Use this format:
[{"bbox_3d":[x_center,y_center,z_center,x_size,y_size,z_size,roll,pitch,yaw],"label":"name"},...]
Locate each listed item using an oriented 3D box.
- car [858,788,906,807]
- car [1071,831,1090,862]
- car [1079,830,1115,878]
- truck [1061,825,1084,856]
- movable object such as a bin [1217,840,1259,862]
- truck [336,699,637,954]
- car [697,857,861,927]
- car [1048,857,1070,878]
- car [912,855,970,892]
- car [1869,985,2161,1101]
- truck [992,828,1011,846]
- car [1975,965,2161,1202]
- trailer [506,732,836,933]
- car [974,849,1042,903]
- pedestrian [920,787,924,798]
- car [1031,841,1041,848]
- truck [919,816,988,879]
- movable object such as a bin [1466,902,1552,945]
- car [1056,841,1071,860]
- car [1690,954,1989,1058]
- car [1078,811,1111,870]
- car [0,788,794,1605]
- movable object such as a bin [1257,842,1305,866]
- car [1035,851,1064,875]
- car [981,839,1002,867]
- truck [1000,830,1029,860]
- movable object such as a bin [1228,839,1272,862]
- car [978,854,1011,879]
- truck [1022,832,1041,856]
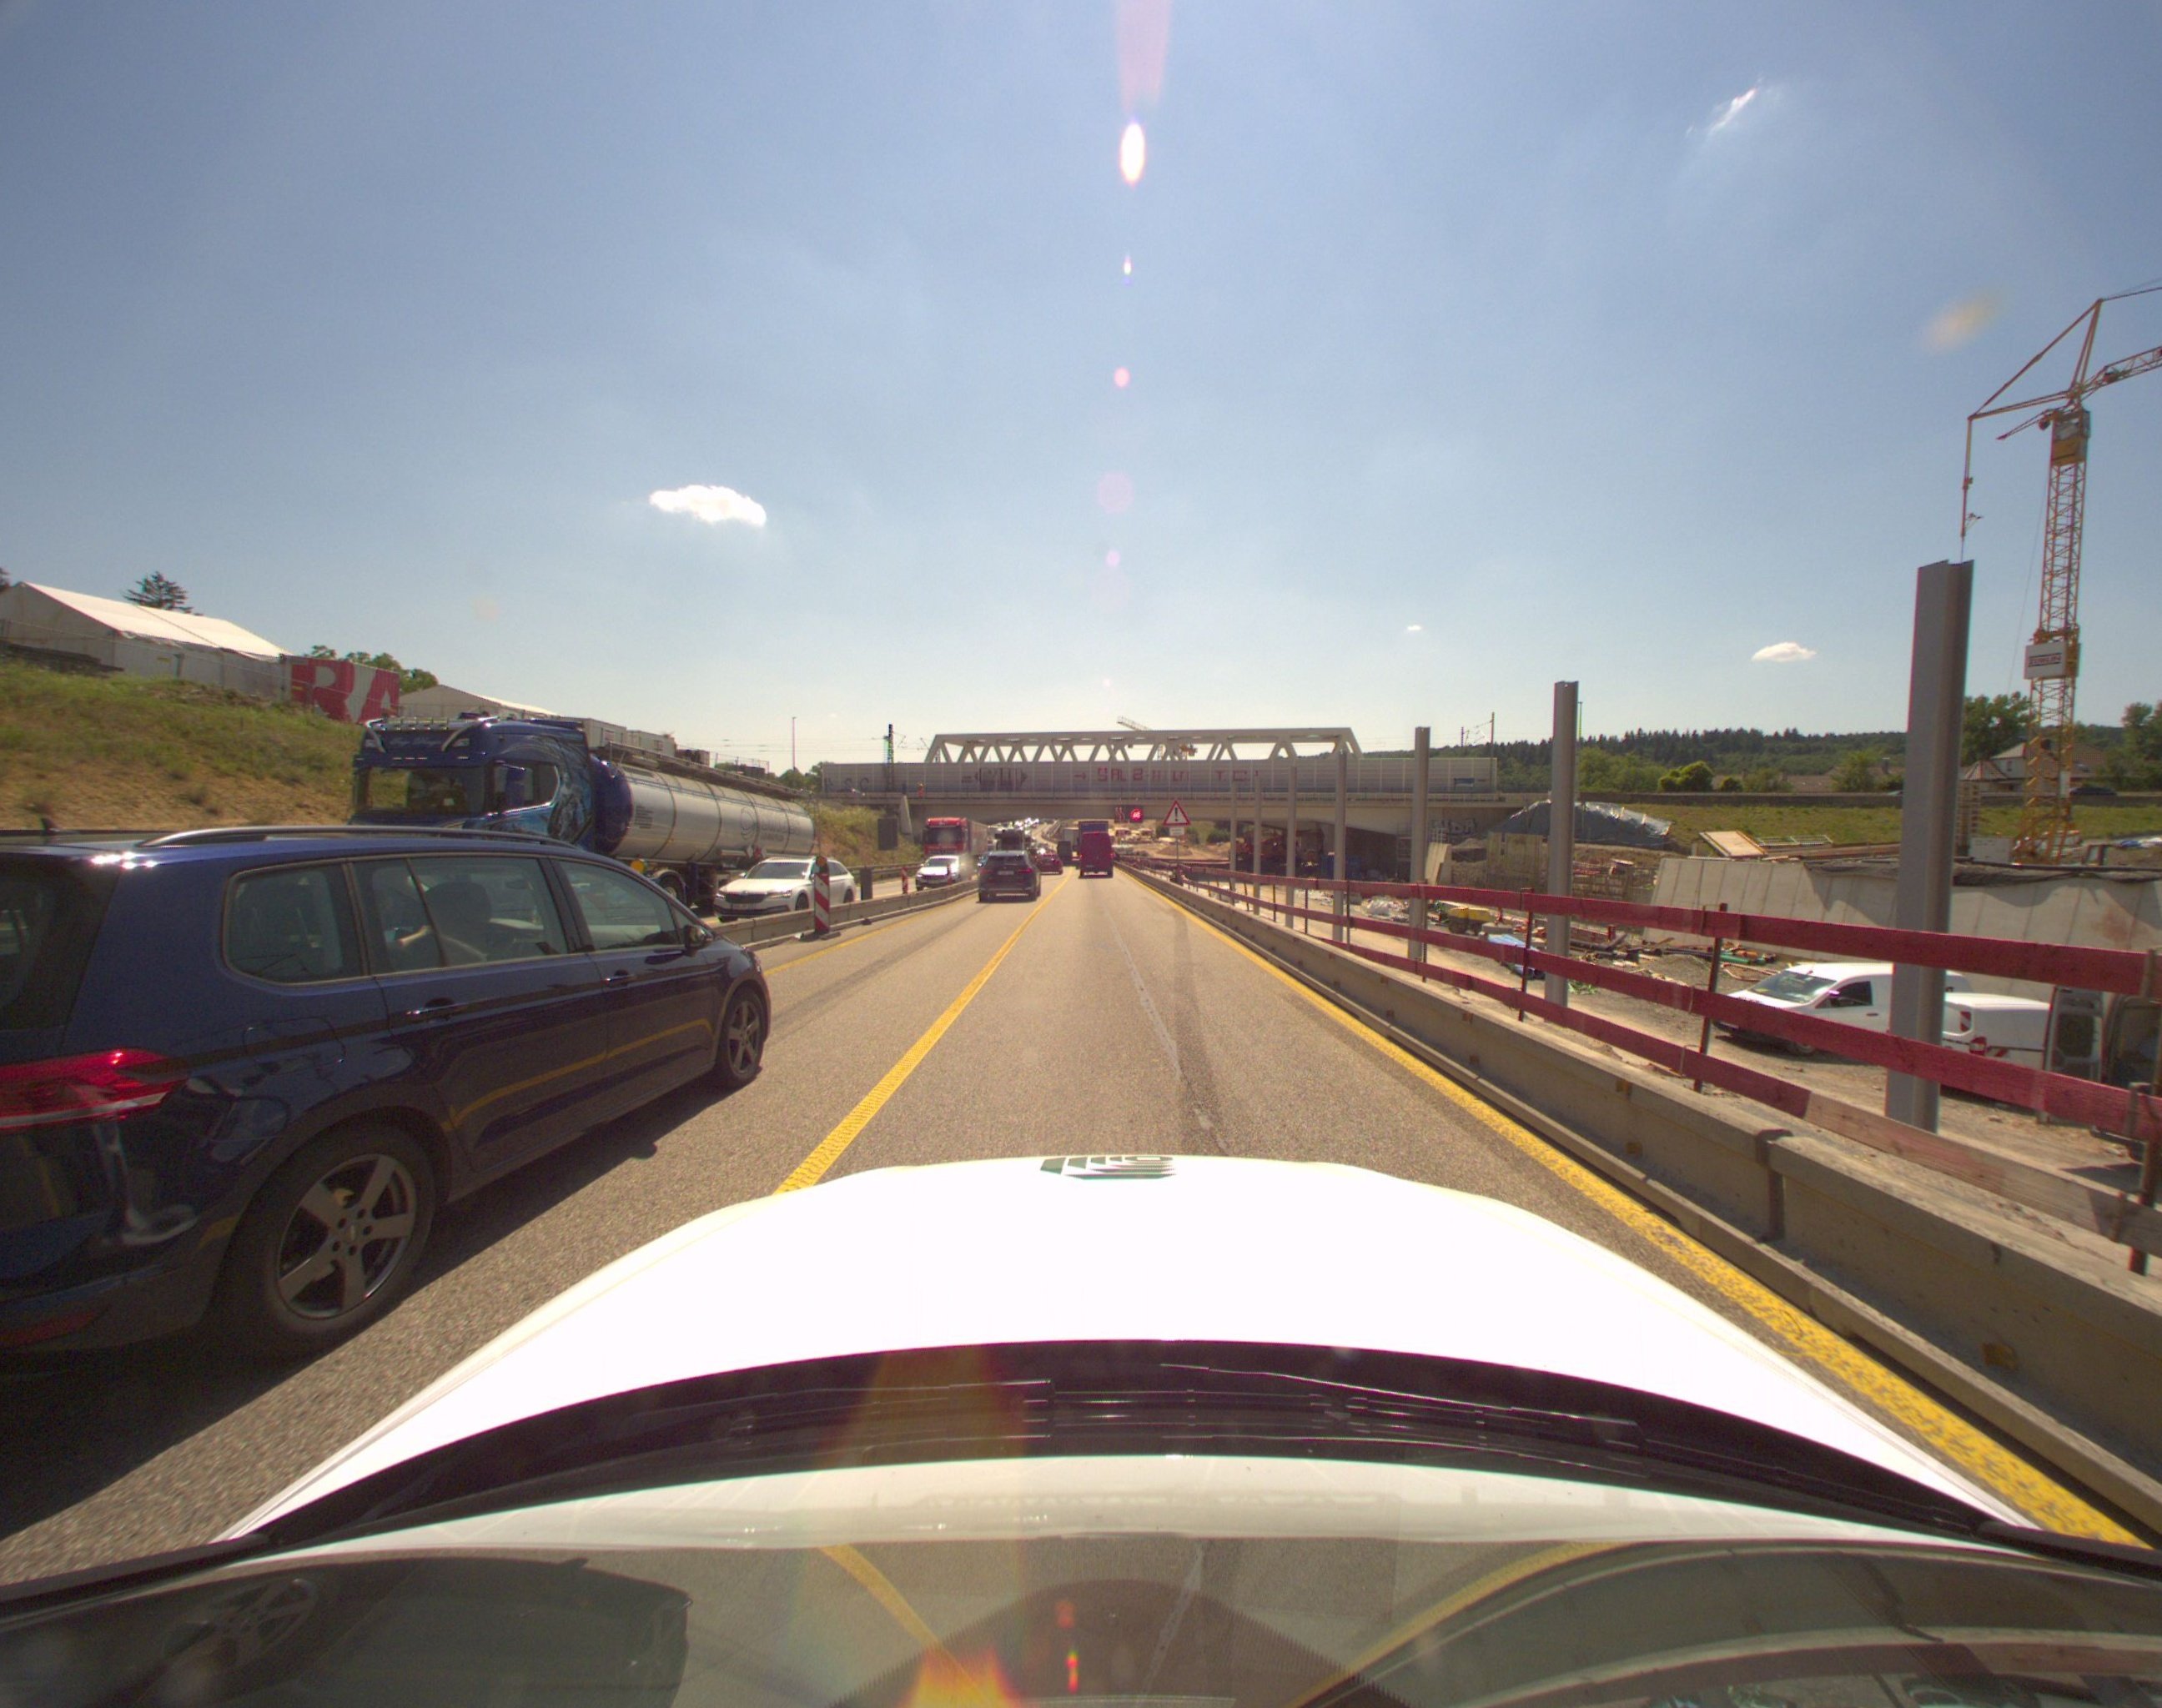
[{"bbox_3d":[-21.384,-6.045,87.529,4.522,1.783,1.967,0,0,13],"label":"car"},{"bbox_3d":[-0.130,-1.020,113.015,2.443,4.160,6.858,-1,1,-1],"label":"car"},{"bbox_3d":[0.909,-0.005,48.946,1.982,2.690,4.622,-1,1,-1],"label":"car"},{"bbox_3d":[-1.617,-2.479,152.903,2.832,5.398,12.879,0,0,-7],"label":"truck"},{"bbox_3d":[20.318,-0.384,105.736,5.122,2.807,2.145,0,0,5],"label":"movable object such as a bin"},{"bbox_3d":[-10.500,-0.446,14.878,2.347,4.015,4.005,0,0,4],"label":"truck"},{"bbox_3d":[-6.898,0.793,19.209,1.808,1.383,4.591,0,0,5],"label":"car"},{"bbox_3d":[-1.897,1.185,71.544,1.834,1.654,4.163,-1,1,-1],"label":"car"},{"bbox_3d":[-5.890,0.780,34.745,1.828,1.446,4.154,0,0,-1],"label":"car"},{"bbox_3d":[17.182,3.422,14.997,3.752,1.668,1.765,1,2,-5],"label":"car"},{"bbox_3d":[-17.365,-3.627,177.208,2.836,3.852,12.864,0,0,-11],"label":"truck"},{"bbox_3d":[16.305,3.032,11.175,6.088,2.584,2.522,1,2,-10],"label":"car"},{"bbox_3d":[-9.949,-0.476,22.028,2.337,4.015,11.464,0,0,4],"label":"trailer"},{"bbox_3d":[-2.337,0.656,27.156,1.874,1.618,4.498,-1,1,-1],"label":"car"},{"bbox_3d":[-16.629,-6.436,85.322,0.334,1.211,0.309,0,0,13],"label":"pedestrian"},{"bbox_3d":[-10.065,-2.109,181.720,1.877,1.656,3.988,0,0,-9],"label":"car"},{"bbox_3d":[-8.575,-0.484,56.411,2.826,3.852,12.908,0,0,0],"label":"truck"},{"bbox_3d":[18.319,2.934,34.894,3.067,1.563,1.563,0,0,35],"label":"movable object such as a bin"},{"bbox_3d":[-2.241,-0.454,105.576,1.770,2.441,4.205,-1,1,-1],"label":"car"},{"bbox_3d":[16.635,3.310,18.076,4.711,1.773,2.001,1,2,1],"label":"car"},{"bbox_3d":[1.112,-1.191,74.555,2.613,5.032,10.393,-1,1,-1],"label":"car"},{"bbox_3d":[-3.118,0.670,3.840,1.769,1.718,4.654,0,1,1],"label":"car"},{"bbox_3d":[23.137,0.002,94.232,5.122,2.807,2.145,0,0,5],"label":"movable object such as a bin"},{"bbox_3d":[-2.103,0.597,55.464,1.770,1.517,4.206,-1,1,0],"label":"car"},{"bbox_3d":[-8.745,-0.099,79.958,1.575,2.654,5.389,0,0,-1],"label":"car"},{"bbox_3d":[-8.894,-1.197,109.773,2.826,3.852,12.909,0,0,0],"label":"truck"},{"bbox_3d":[20.965,-0.443,101.332,5.122,2.807,2.145,0,0,5],"label":"movable object such as a bin"},{"bbox_3d":[-5.388,0.741,51.026,1.574,1.446,3.664,0,0,1],"label":"car"},{"bbox_3d":[-8.546,-1.644,139.673,2.830,3.852,12.888,0,0,-5],"label":"truck"}]
